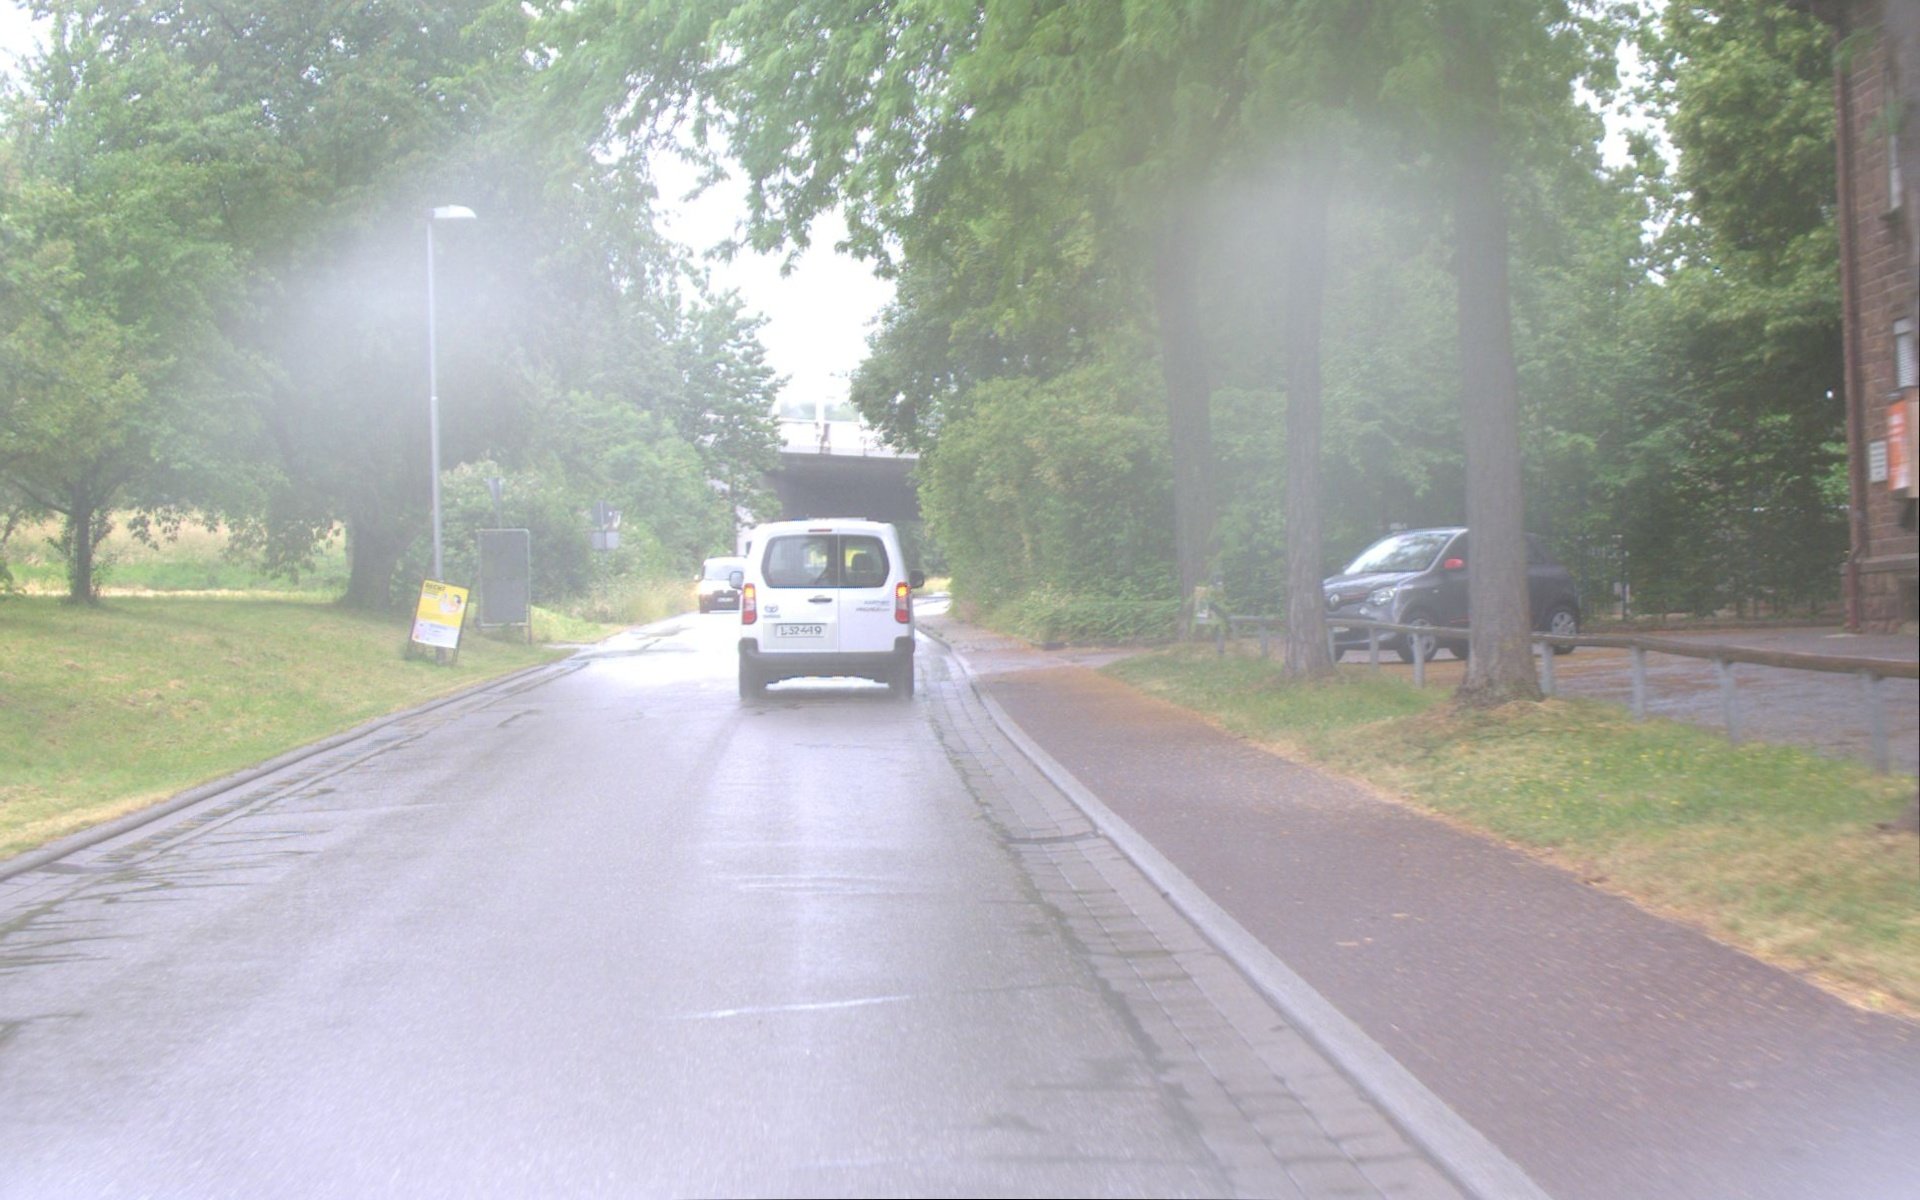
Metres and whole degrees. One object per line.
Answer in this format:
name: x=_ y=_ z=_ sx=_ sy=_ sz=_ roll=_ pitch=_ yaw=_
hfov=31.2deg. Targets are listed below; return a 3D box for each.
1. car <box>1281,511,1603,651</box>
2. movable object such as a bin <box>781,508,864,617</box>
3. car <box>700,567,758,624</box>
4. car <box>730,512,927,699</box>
car: x=5.638 y=-0.235 z=40.063 sx=3.602 sy=1.546 sz=1.621 roll=-1 pitch=0 yaw=-38
movable object such as a bin: x=-3.268 y=-0.876 z=82.285 sx=1.761 sy=2.539 sz=4.239 roll=0 pitch=0 yaw=1
car: x=-7.518 y=-0.151 z=112.031 sx=1.823 sy=1.825 sz=4.308 roll=0 pitch=0 yaw=-3
car: x=-1.344 y=0.023 z=36.086 sx=1.896 sy=1.801 sz=4.000 roll=-2 pitch=1 yaw=-1
